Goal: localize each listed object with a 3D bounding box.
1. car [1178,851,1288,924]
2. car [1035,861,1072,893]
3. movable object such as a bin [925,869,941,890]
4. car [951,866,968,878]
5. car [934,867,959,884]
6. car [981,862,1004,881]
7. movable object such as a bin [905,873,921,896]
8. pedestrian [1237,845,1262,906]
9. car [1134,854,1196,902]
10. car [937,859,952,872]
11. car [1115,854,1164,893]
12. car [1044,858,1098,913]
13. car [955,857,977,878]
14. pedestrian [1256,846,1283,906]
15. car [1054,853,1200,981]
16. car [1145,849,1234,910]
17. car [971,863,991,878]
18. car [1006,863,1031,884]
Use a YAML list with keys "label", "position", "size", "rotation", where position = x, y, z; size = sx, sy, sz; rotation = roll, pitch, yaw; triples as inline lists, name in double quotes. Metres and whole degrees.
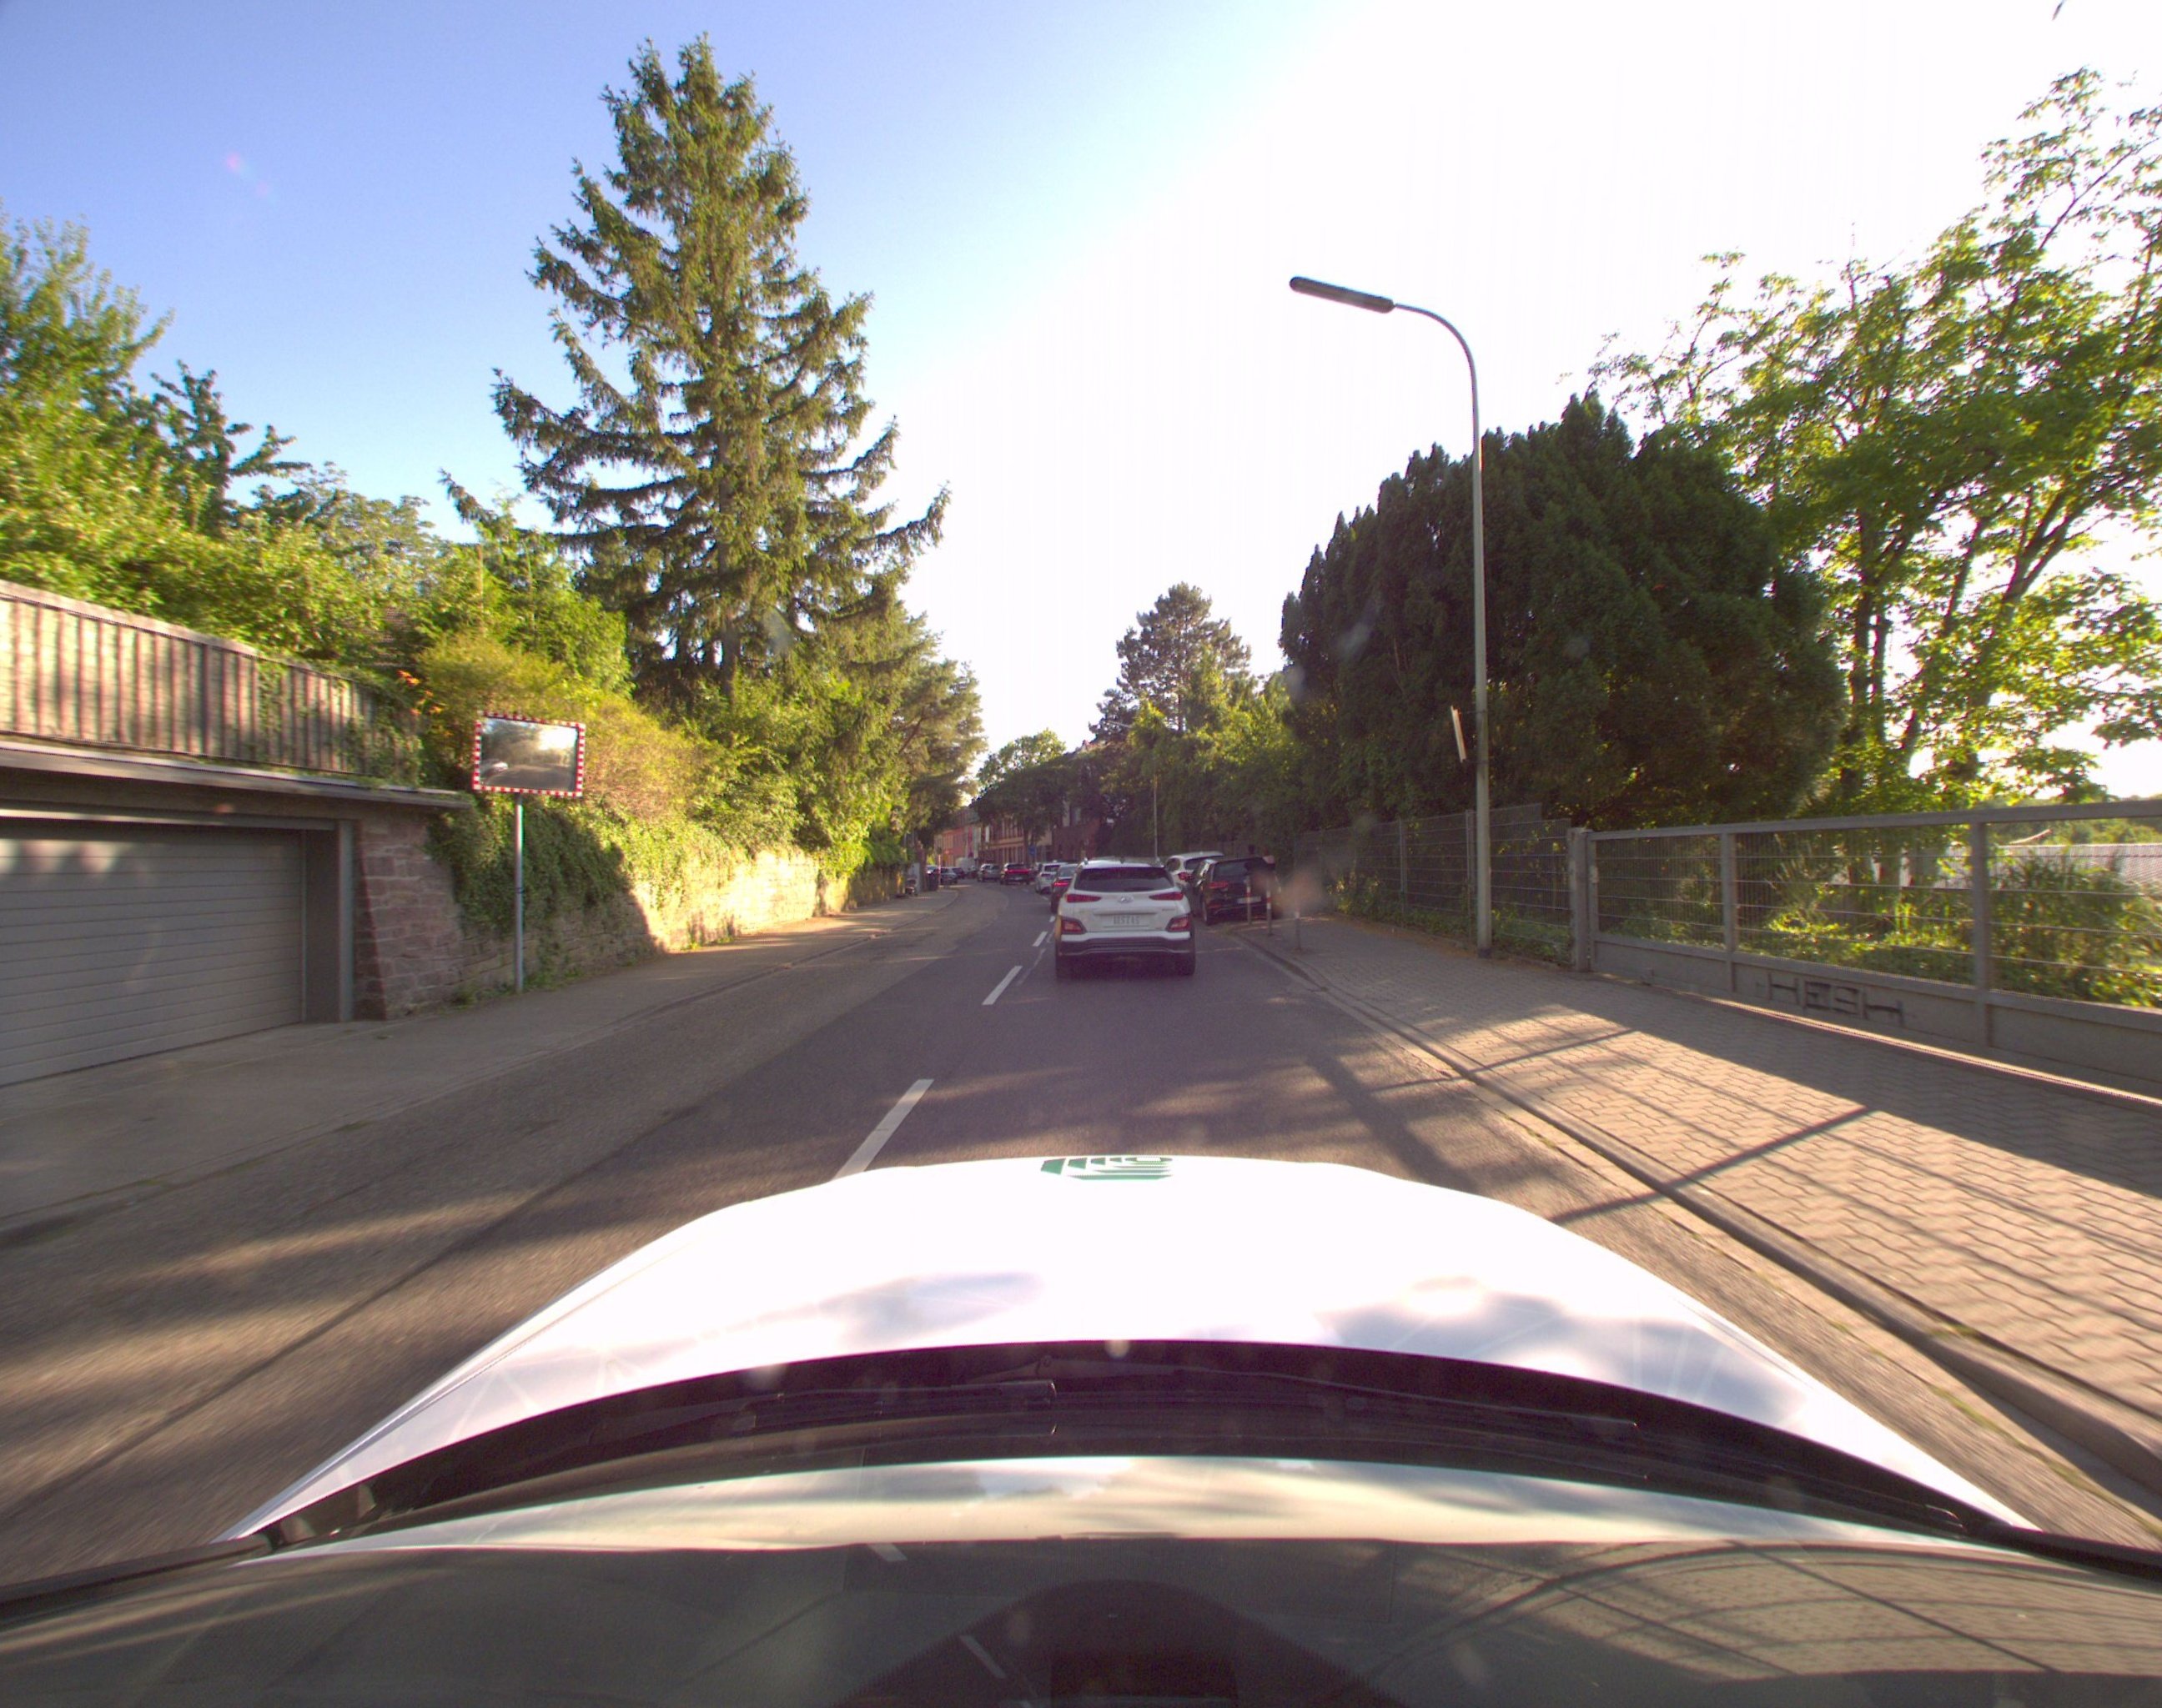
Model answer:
- label: "car"
  position: [3.437, 0.710, 19.140]
  size: [1.681, 1.431, 3.998]
  rotation: [-4, 0, -1]
- label: "car"
  position: [-1.402, 1.117, 40.335]
  size: [1.569, 1.477, 3.539]
  rotation: [0, 0, -7]
- label: "movable object such as a bin"
  position: [-8.520, 1.488, 47.003]
  size: [0.789, 1.189, 0.772]
  rotation: [0, -1, 0]
- label: "car"
  position: [-13.952, 2.041, 93.504]
  size: [1.529, 1.260, 3.343]
  rotation: [-2, -1, -15]
- label: "car"
  position: [-11.256, 1.774, 67.917]
  size: [1.597, 1.318, 3.789]
  rotation: [-1, -1, -17]
- label: "car"
  position: [-7.881, 1.582, 72.561]
  size: [1.592, 1.582, 3.345]
  rotation: [-2, -1, -14]
- label: "movable object such as a bin"
  position: [-7.614, 1.385, 36.940]
  size: [0.493, 1.011, 1.113]
  rotation: [0, -1, 1]
- label: "pedestrian"
  position: [4.549, 0.586, 22.016]
  size: [0.501, 1.606, 0.491]
  rotation: [-4, -1, 1]
- label: "car"
  position: [2.989, 0.841, 29.759]
  size: [1.590, 1.519, 3.928]
  rotation: [-4, -1, -3]
- label: "car"
  position: [-21.451, 1.805, 127.837]
  size: [1.723, 1.936, 3.973]
  rotation: [-2, -1, -20]
- label: "car"
  position: [2.495, 0.813, 35.485]
  size: [1.590, 1.489, 3.598]
  rotation: [-4, 0, -3]
- label: "car"
  position: [-0.298, 0.910, 25.131]
  size: [1.507, 1.533, 3.546]
  rotation: [-2, 0, -1]
- label: "car"
  position: [-14.629, 1.687, 103.350]
  size: [1.934, 2.583, 4.368]
  rotation: [-2, -1, -17]
- label: "pedestrian"
  position: [5.072, 0.582, 21.912]
  size: [0.501, 1.569, 0.504]
  rotation: [-4, -1, 1]
- label: "car"
  position: [0.645, 0.792, 11.964]
  size: [1.765, 1.542, 4.002]
  rotation: [-1, -1, 2]
- label: "car"
  position: [3.139, 0.735, 24.330]
  size: [1.592, 1.565, 3.990]
  rotation: [-4, -1, -7]
- label: "car"
  position: [-11.702, 1.907, 95.006]
  size: [1.759, 1.616, 3.978]
  rotation: [0, 0, -16]
- label: "car"
  position: [-4.610, 1.393, 59.917]
  size: [1.592, 1.461, 3.089]
  rotation: [-2, -1, -9]
